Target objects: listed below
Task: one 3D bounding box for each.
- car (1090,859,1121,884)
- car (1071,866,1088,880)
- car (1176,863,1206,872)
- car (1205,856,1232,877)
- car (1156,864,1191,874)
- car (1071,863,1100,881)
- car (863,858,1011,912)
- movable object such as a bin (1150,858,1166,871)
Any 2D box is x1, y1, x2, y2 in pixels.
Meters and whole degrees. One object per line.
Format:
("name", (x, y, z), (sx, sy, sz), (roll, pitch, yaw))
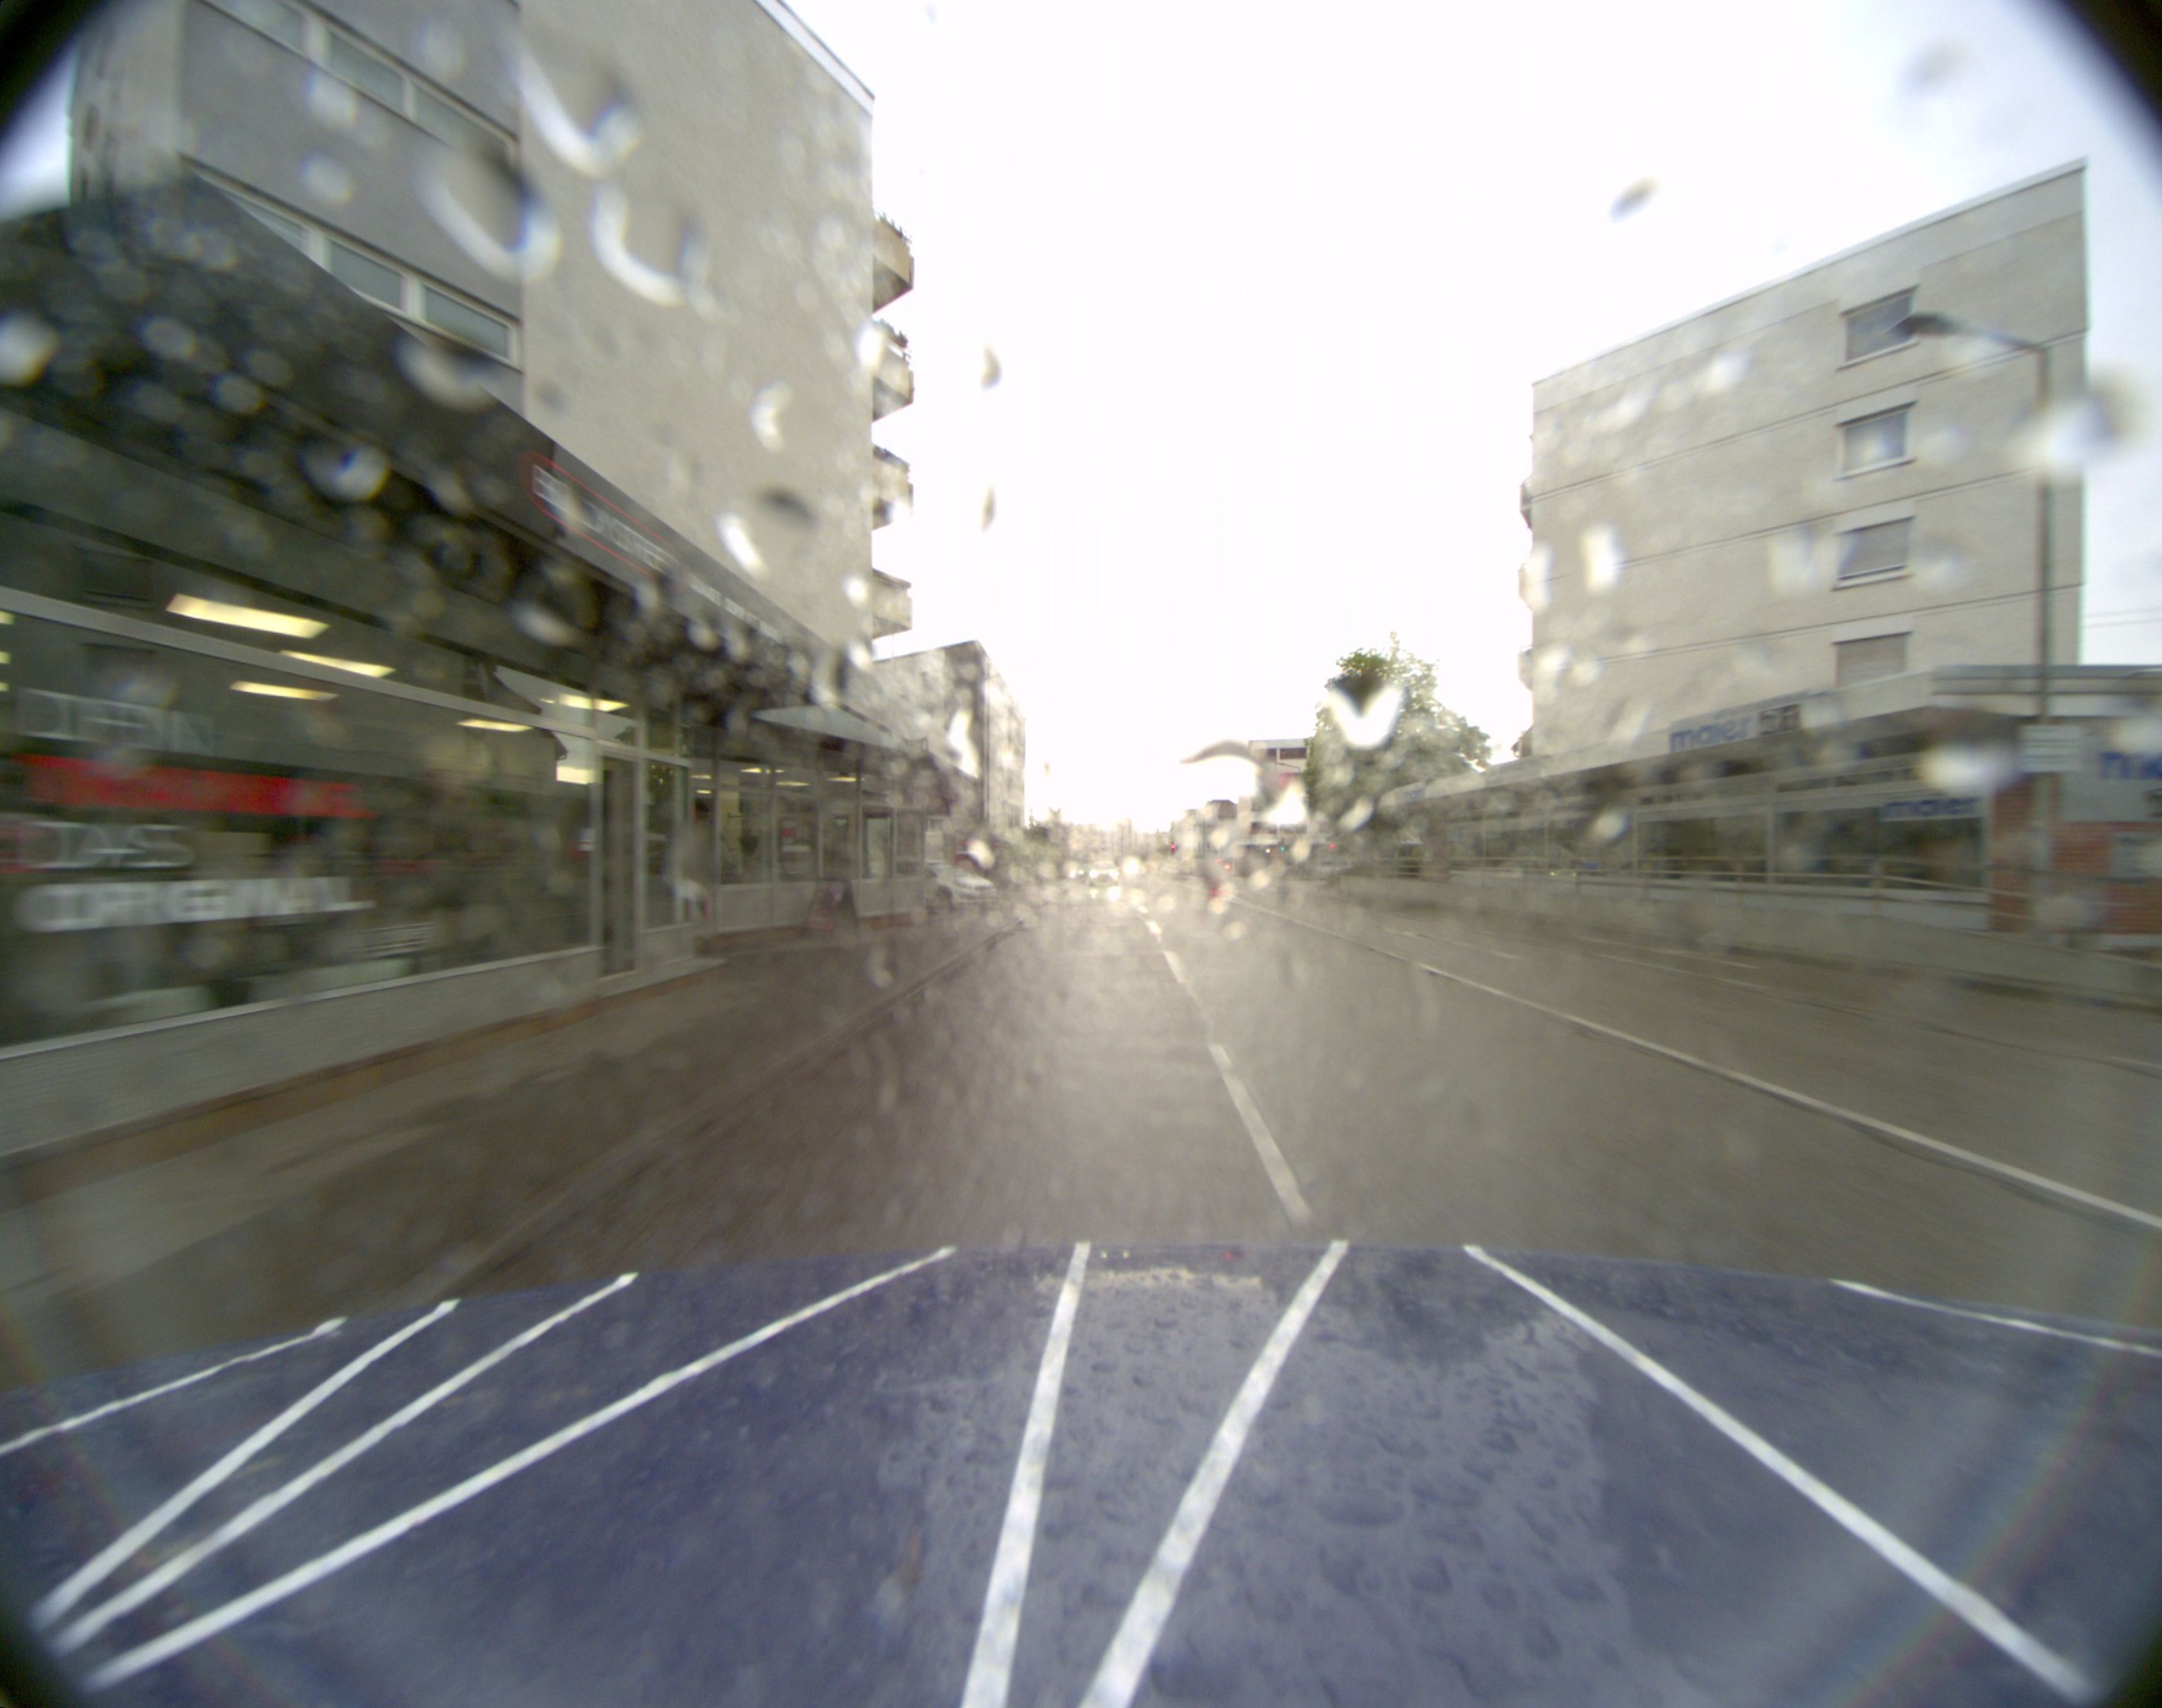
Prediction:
("car", (1.492, 1.068, 46.627), (1.829, 1.431, 4.346), (-1, -1, 1))
("car", (-0.198, 2.739, 109.945), (1.997, 2.001, 4.002), (0, -1, 6))
("car", (17.895, 2.147, 123.694), (4.621, 1.487, 1.930), (0, -1, 5))
("car", (10.392, 0.944, 57.606), (1.806, 1.547, 4.321), (-1, -1, 7))
("car", (15.643, 2.487, 128.321), (5.465, 1.673, 2.152), (-1, -1, 31))
("car", (0.486, 2.054, 87.068), (2.002, 1.848, 3.993), (2, -1, -19))
("car", (-4.412, 0.916, 23.070), (4.259, 1.485, 1.877), (-1, -2, 31))
("movable object such as a bin", (16.680, 2.338, 163.891), (2.921, 2.824, 2.200), (-1, -1, 19))
